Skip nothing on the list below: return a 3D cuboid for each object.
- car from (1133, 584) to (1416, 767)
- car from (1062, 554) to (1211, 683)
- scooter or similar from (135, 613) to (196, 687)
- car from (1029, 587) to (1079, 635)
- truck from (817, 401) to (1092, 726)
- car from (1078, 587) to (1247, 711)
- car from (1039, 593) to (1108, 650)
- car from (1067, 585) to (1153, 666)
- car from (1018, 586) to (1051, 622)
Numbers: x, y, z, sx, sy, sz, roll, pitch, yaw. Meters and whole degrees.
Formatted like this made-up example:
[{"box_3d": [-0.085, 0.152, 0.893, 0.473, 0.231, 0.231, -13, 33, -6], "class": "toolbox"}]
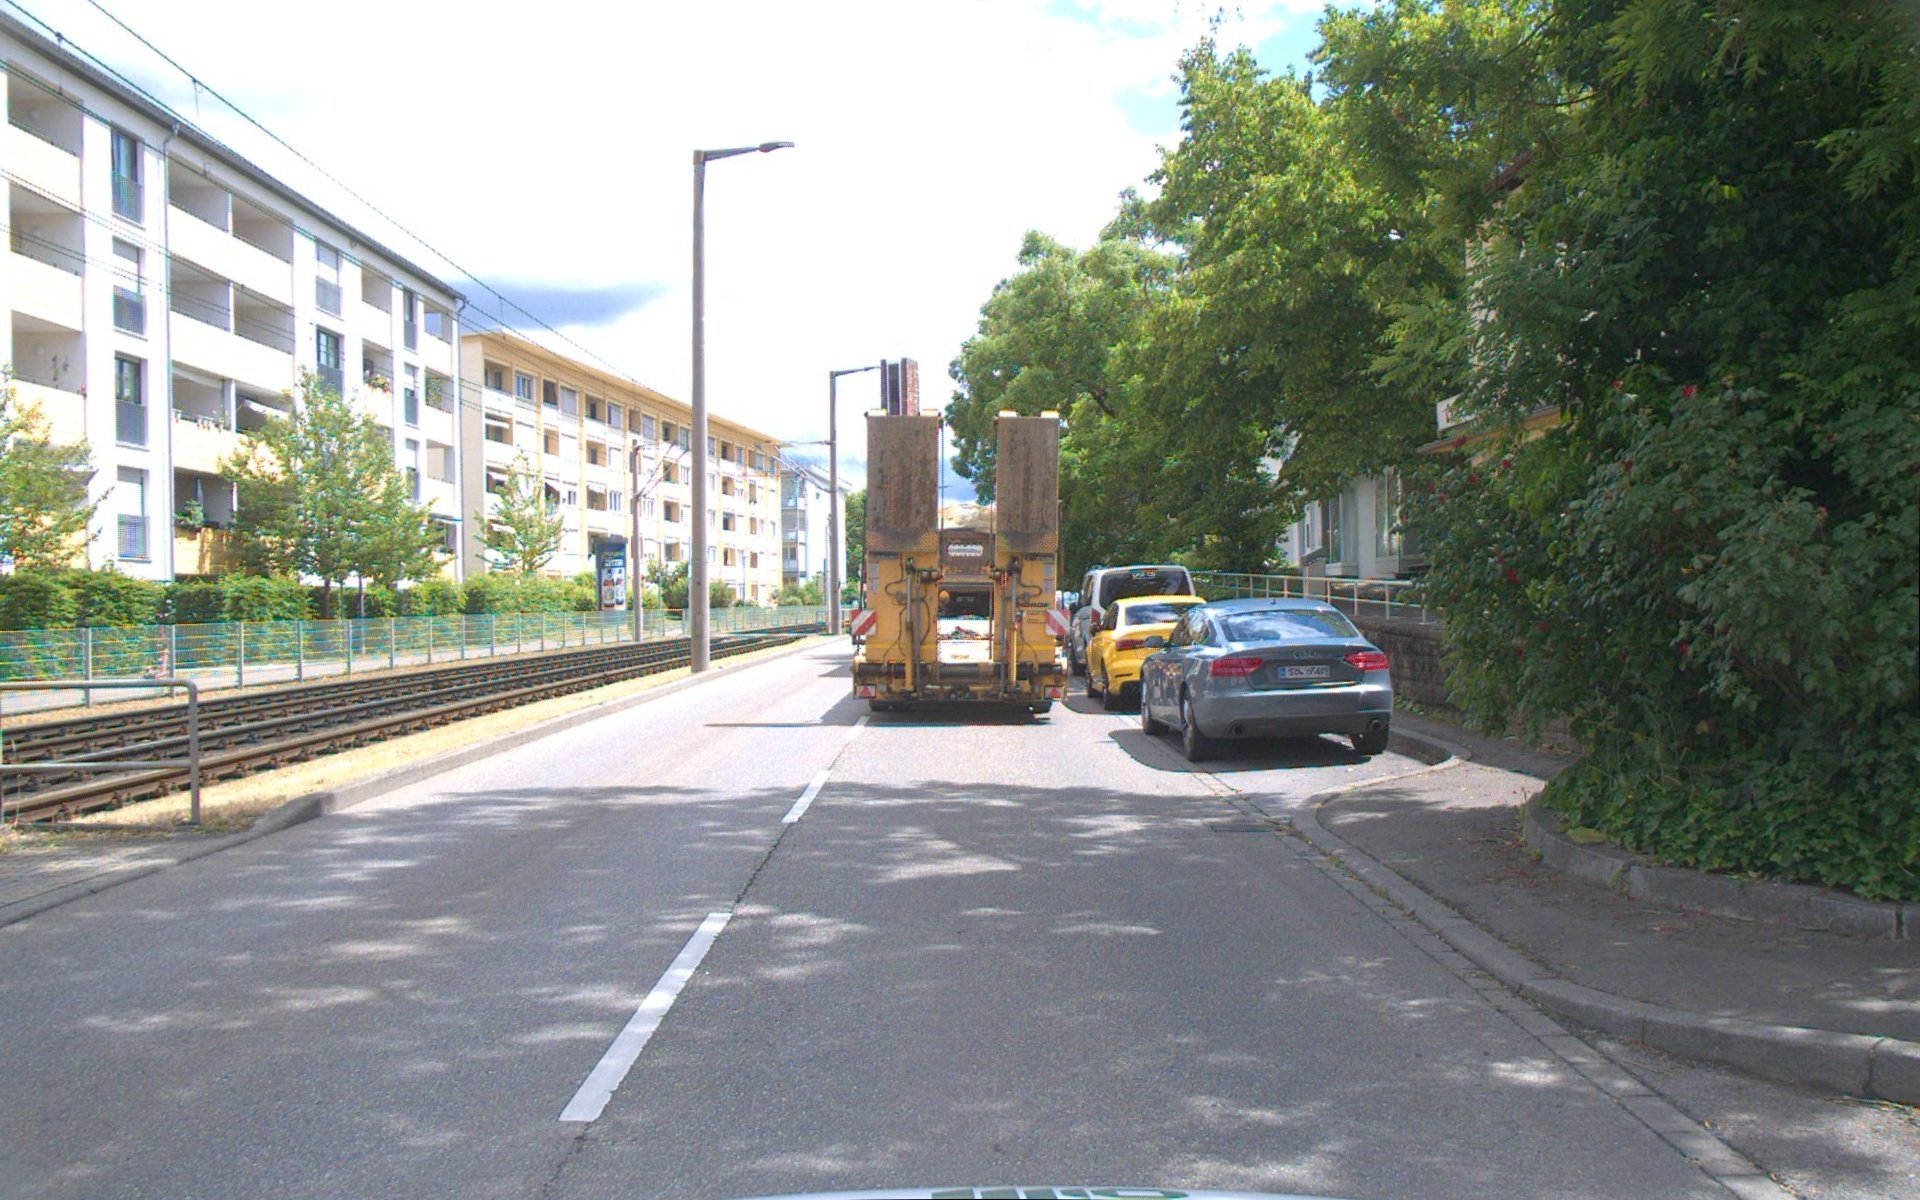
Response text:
[{"box_3d": [2.855, 0.622, 16.022, 1.720, 1.467, 4.492, -2, 0, -2], "class": "car"}, {"box_3d": [2.975, 0.283, 29.101, 1.875, 1.993, 5.744, -2, 0, -1], "class": "car"}, {"box_3d": [-14.636, 0.906, 30.502, 0.480, 1.315, 1.302, -1, 0, 1], "class": "scooter or similar"}, {"box_3d": [3.603, 0.399, 63.181, 1.785, 1.711, 4.578, -1, 0, 3], "class": "car"}, {"box_3d": [-0.243, -0.442, 24.847, 3.061, 3.627, 12.455, -1, 0, -2], "class": "truck"}, {"box_3d": [2.666, 0.599, 22.633, 1.719, 1.467, 4.340, -2, 0, 0], "class": "car"}, {"box_3d": [3.182, 0.594, 47.000, 1.575, 1.482, 3.675, -2, 0, -1], "class": "car"}, {"box_3d": [3.106, 0.513, 34.688, 1.482, 1.560, 2.847, -2, 0, 0], "class": "car"}, {"box_3d": [4.333, 0.240, 96.584, 1.762, 2.003, 4.591, -2, 0, 2], "class": "car"}]
